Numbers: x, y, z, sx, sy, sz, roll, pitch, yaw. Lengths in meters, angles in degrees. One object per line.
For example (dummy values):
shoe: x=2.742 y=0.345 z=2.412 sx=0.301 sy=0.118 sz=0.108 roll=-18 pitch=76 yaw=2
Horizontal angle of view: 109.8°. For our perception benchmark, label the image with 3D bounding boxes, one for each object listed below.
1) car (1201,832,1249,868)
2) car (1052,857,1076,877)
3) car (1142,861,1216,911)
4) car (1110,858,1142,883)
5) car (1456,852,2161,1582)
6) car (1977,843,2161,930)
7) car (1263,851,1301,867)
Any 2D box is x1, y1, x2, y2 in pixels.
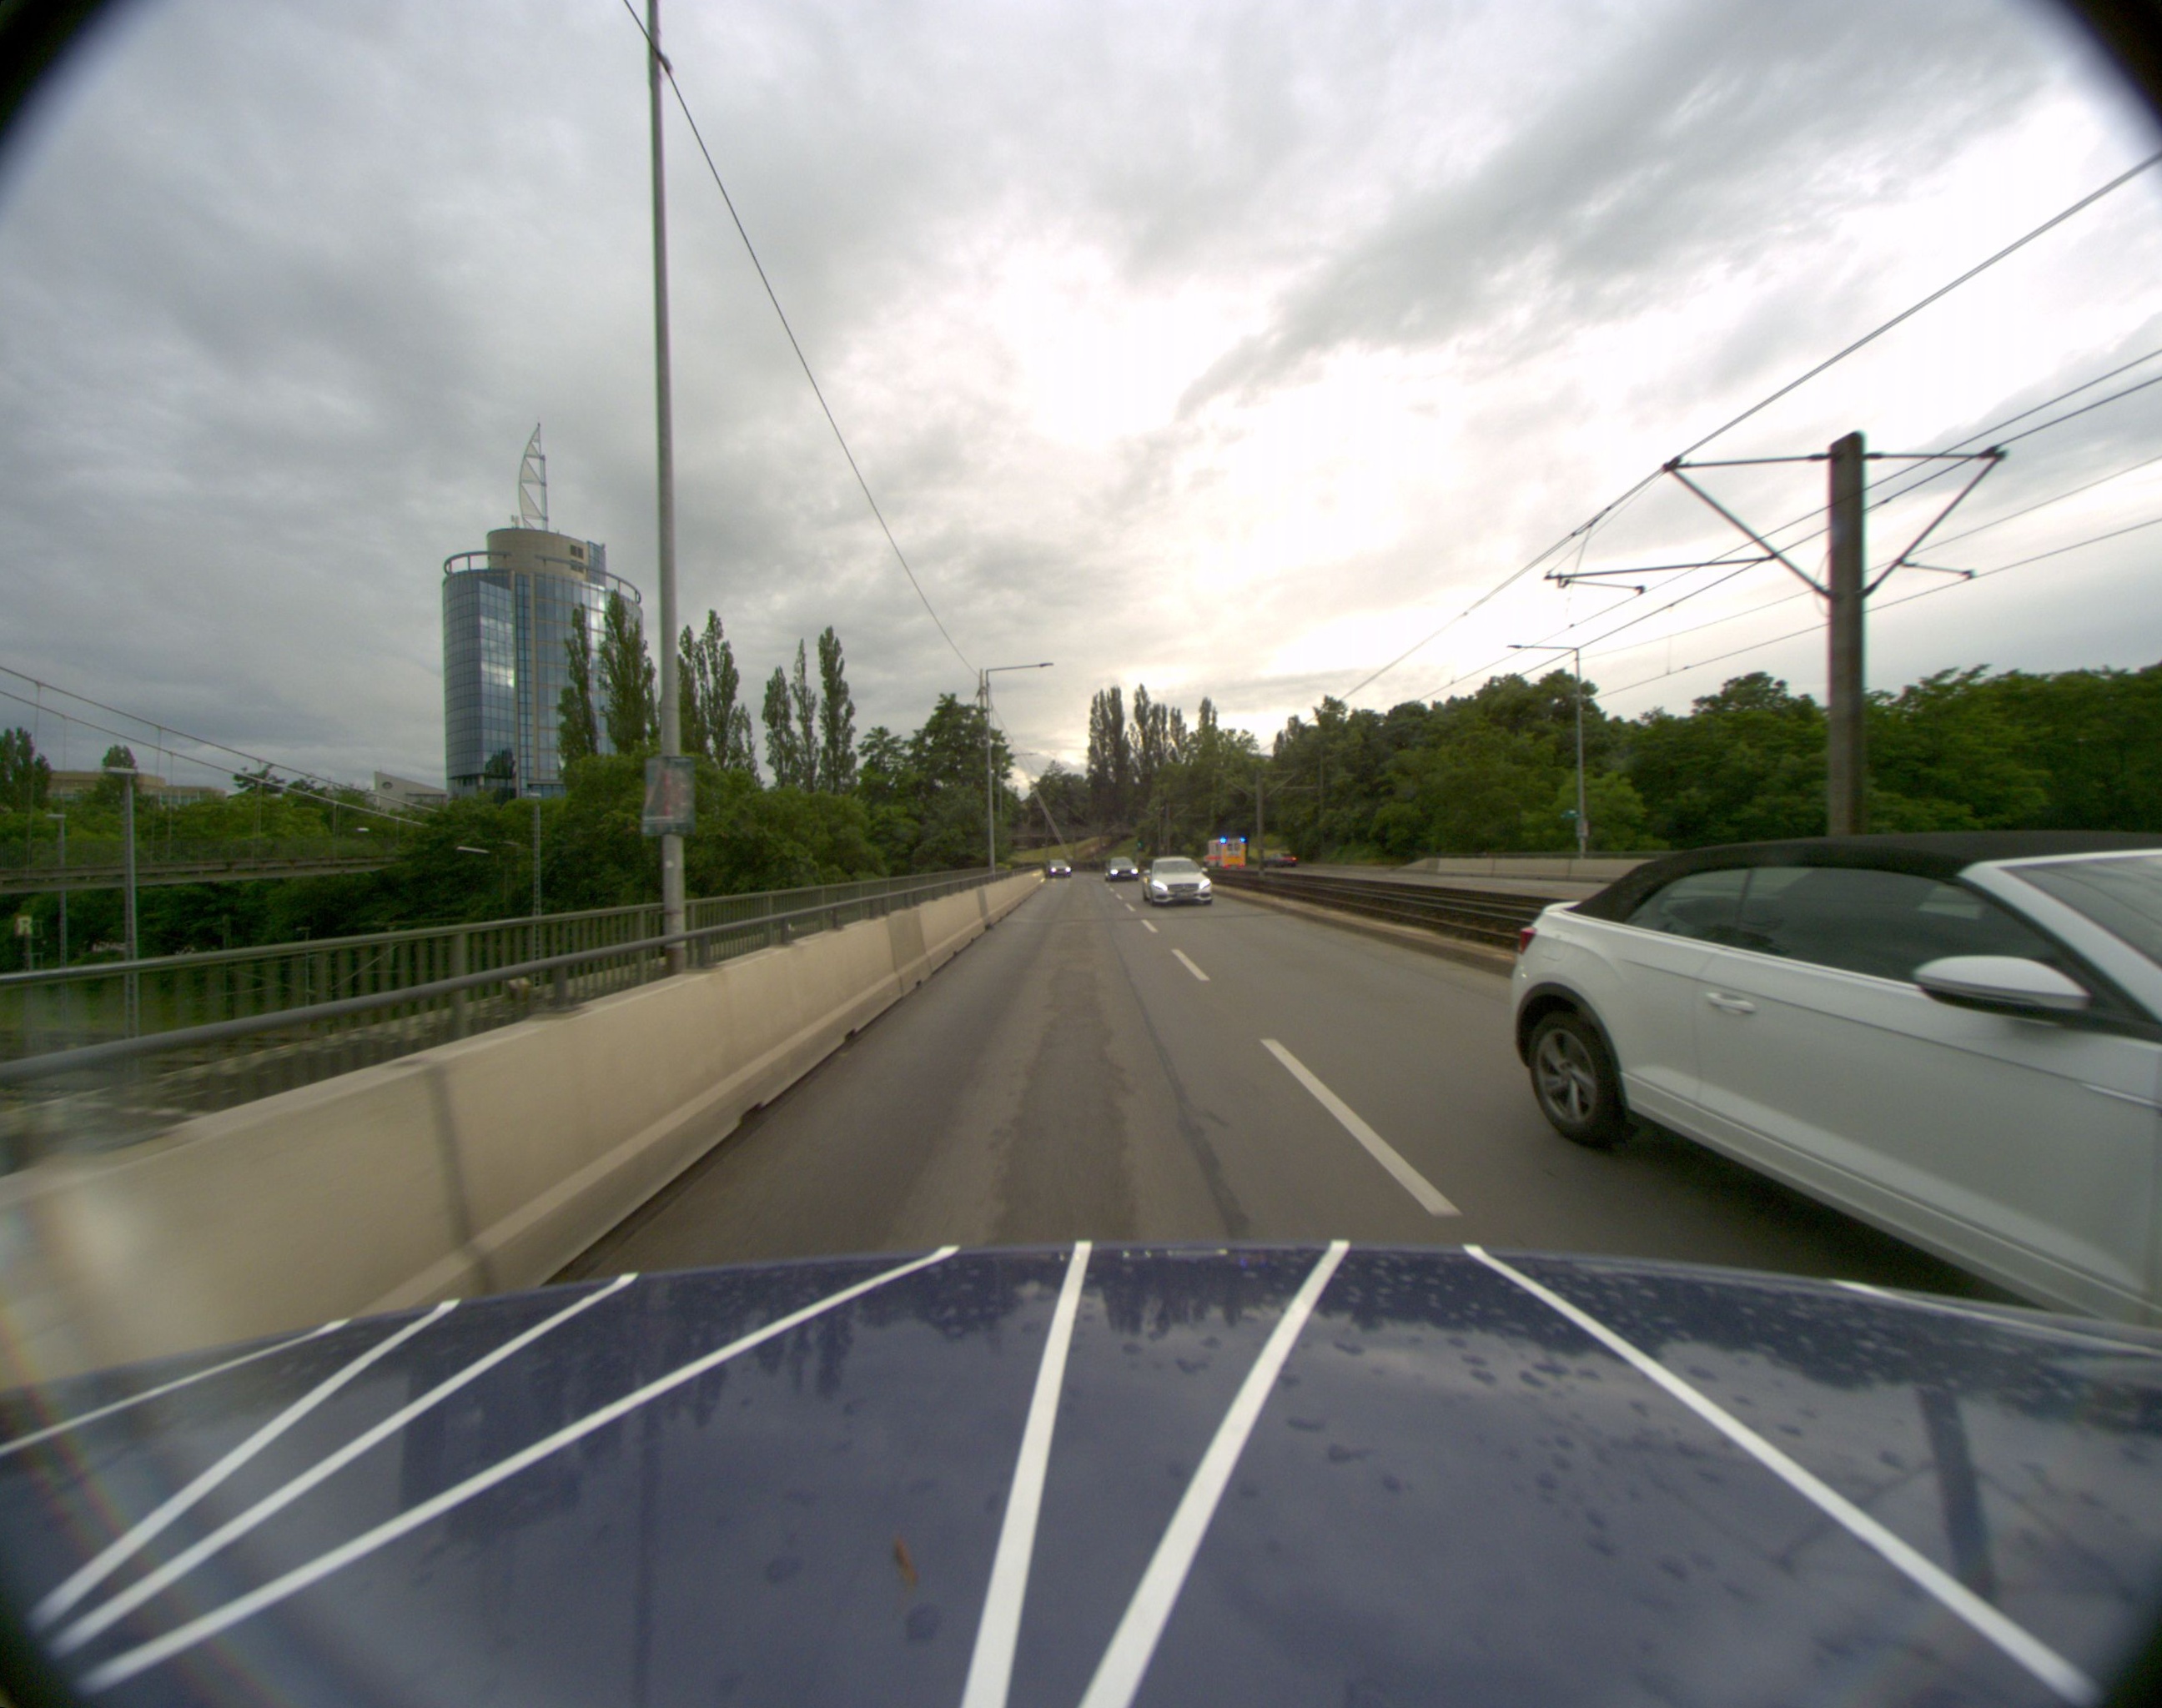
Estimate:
car: x=13.092 y=-0.380 z=69.539 sx=2.397 sy=3.097 sz=6.352 roll=-2 pitch=1 yaw=-7
car: x=-1.408 y=1.004 z=60.741 sx=1.768 sy=1.492 sz=3.999 roll=-2 pitch=0 yaw=-3
car: x=2.987 y=0.941 z=23.929 sx=1.871 sy=1.348 sz=4.060 roll=-1 pitch=0 yaw=1
car: x=2.697 y=0.991 z=46.188 sx=1.736 sy=1.344 sz=4.000 roll=-2 pitch=0 yaw=1
car: x=3.302 y=0.815 z=2.439 sx=1.876 sy=1.515 sz=4.539 roll=-2 pitch=1 yaw=-1
car: x=18.859 y=0.529 z=12.864 sx=1.821 sy=1.428 sz=4.741 roll=-2 pitch=0 yaw=1
car: x=17.809 y=0.461 z=67.657 sx=1.842 sy=1.306 sz=4.617 roll=-4 pitch=0 yaw=-4
